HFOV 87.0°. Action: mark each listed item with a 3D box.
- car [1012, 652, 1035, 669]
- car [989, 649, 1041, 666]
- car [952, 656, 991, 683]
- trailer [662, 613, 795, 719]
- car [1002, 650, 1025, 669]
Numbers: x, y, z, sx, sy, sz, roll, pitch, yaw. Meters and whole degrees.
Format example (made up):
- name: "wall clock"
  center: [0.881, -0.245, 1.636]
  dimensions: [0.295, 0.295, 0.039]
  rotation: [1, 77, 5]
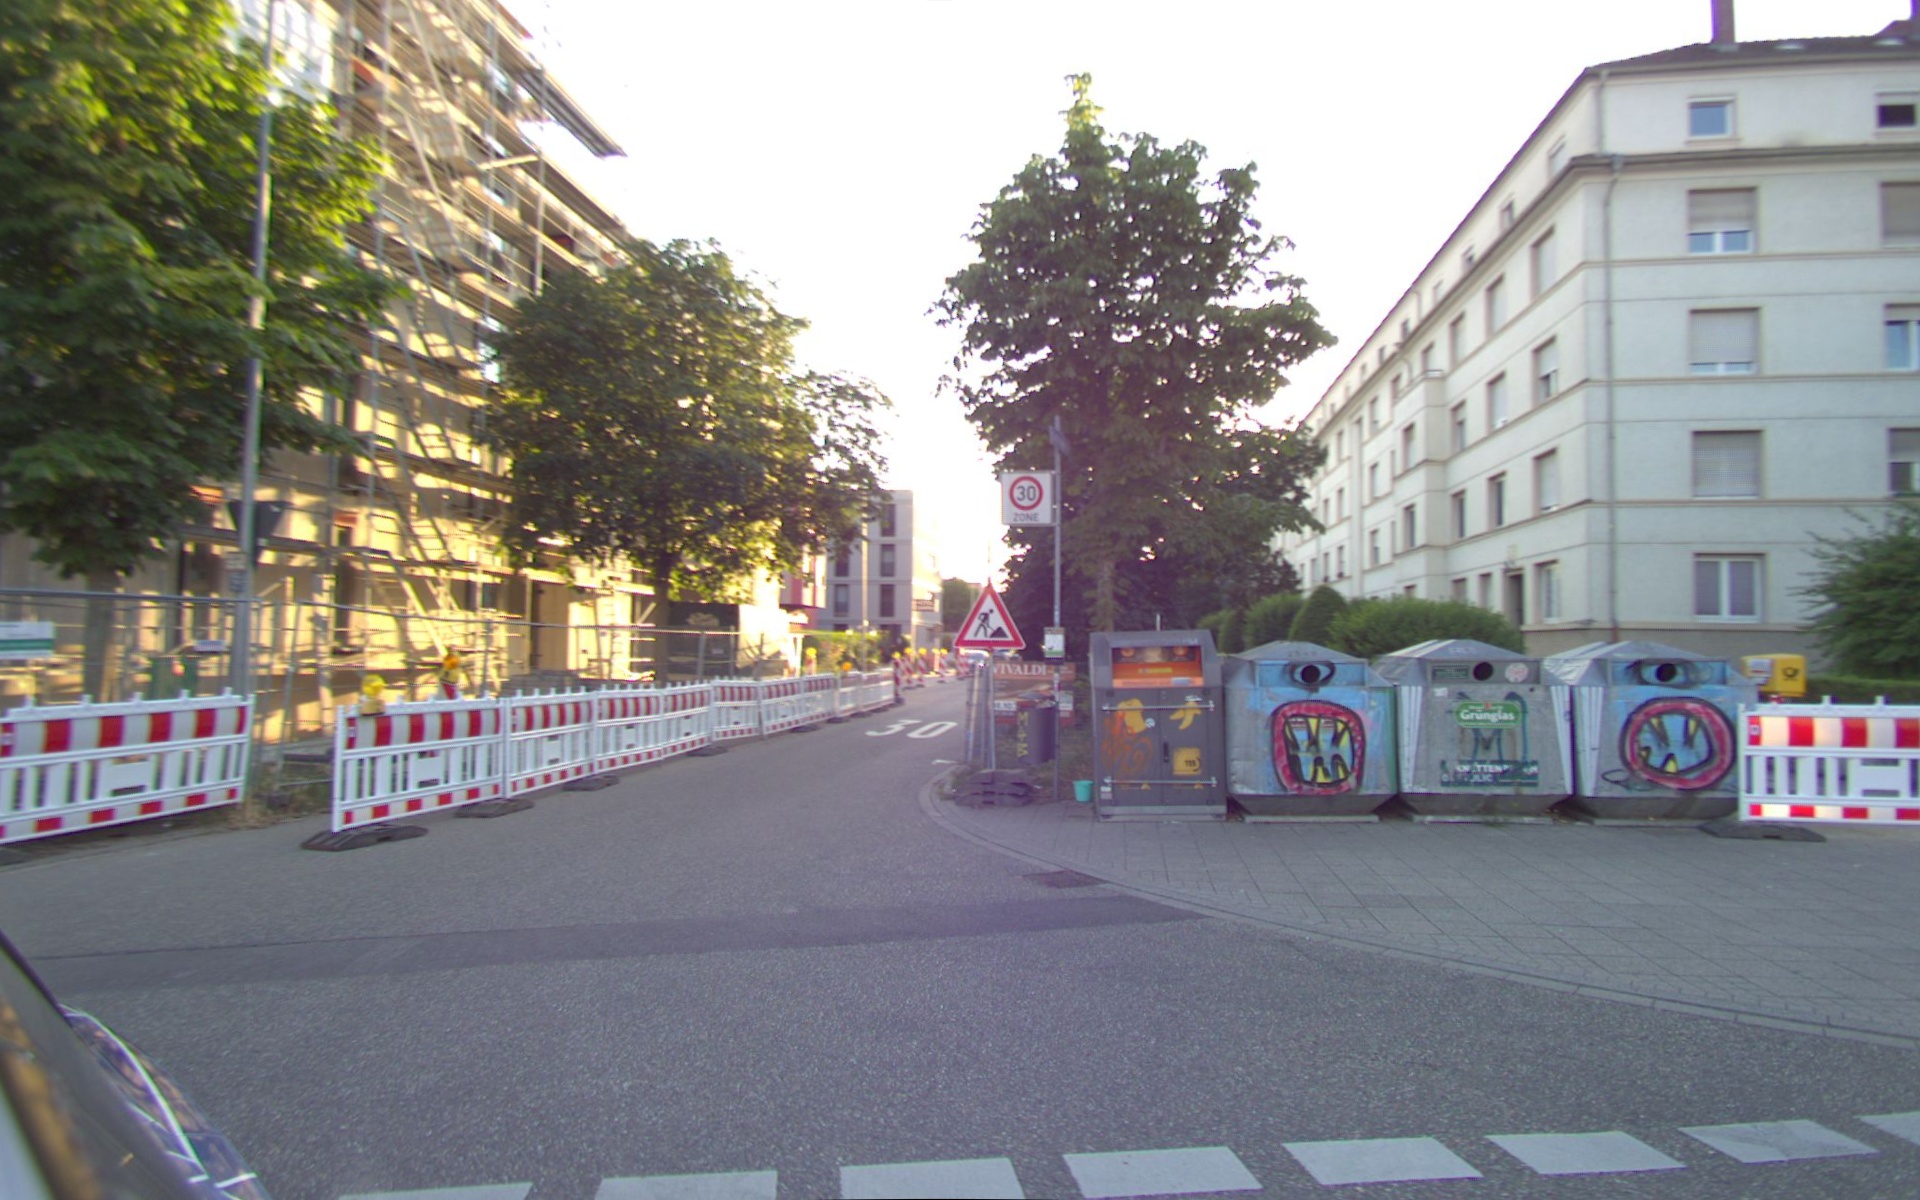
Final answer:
- name: "car"
  center: [5.665, 5.354, 90.378]
  dimensions: [1.726, 1.481, 3.747]
  rotation: [0, -3, 9]
- name: "car"
  center: [5.331, 5.547, 97.592]
  dimensions: [4.780, 1.409, 1.764]
  rotation: [1, -3, 10]
- name: "car"
  center: [0.692, 3.919, 57.404]
  dimensions: [1.761, 1.407, 4.097]
  rotation: [0, -3, 8]
- name: "trailer"
  center: [-6.005, 1.700, 26.808]
  dimensions: [1.977, 2.559, 4.173]
  rotation: [0, -3, 9]
- name: "car"
  center: [4.275, 4.674, 79.968]
  dimensions: [1.600, 1.481, 3.989]
  rotation: [0, -3, 6]
